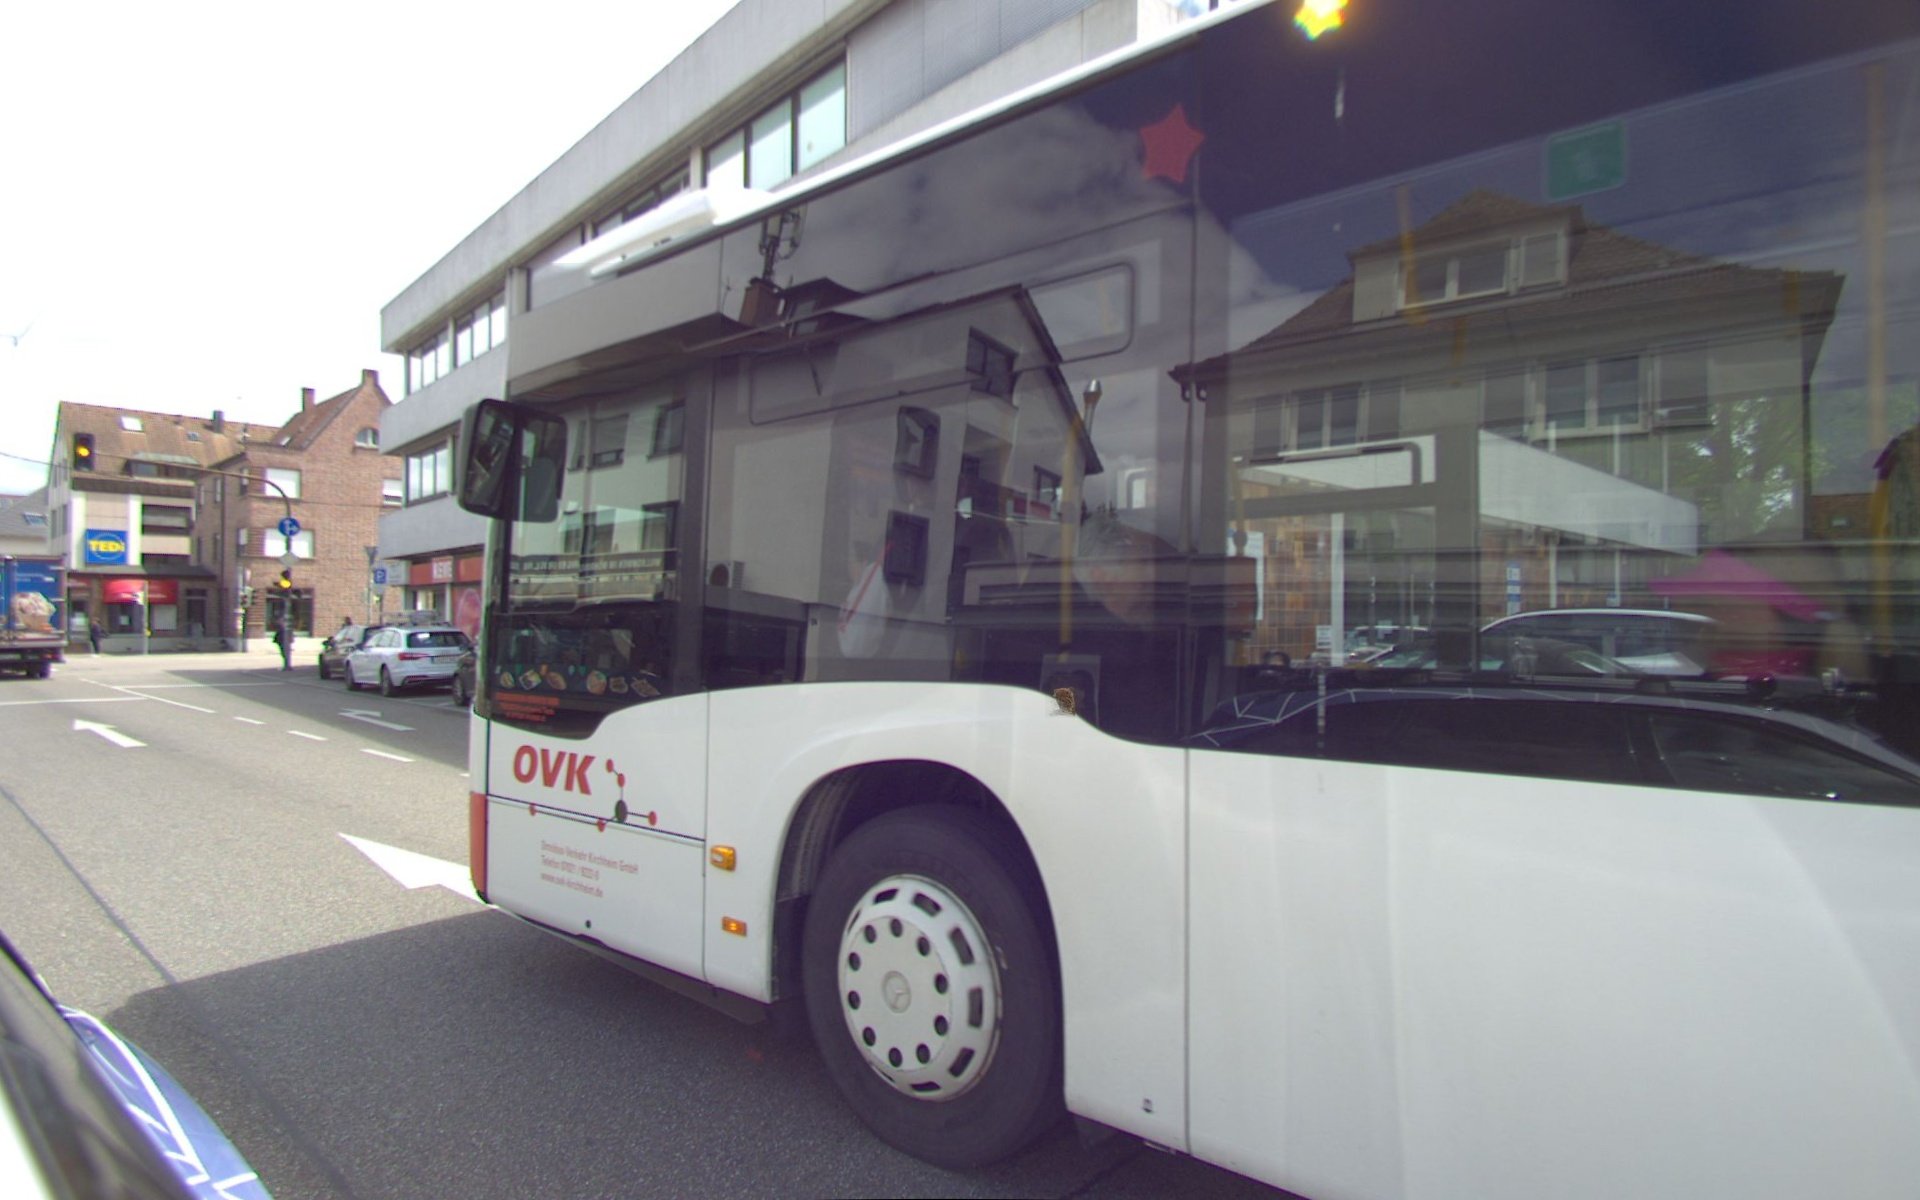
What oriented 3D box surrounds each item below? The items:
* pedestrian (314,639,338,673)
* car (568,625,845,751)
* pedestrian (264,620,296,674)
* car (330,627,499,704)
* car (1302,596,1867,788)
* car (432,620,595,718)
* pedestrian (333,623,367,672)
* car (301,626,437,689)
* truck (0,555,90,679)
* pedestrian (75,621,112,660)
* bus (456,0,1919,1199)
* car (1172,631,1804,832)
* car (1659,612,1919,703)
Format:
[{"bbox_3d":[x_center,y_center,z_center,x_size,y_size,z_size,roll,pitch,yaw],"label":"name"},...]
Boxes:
[{"bbox_3d":[-20.383,1.787,32.552,0.552,1.065,0.663,0,-1,-42],"label":"pedestrian"},{"bbox_3d":[-3.573,1.086,13.809,4.148,1.433,1.703,-2,-1,43],"label":"car"},{"bbox_3d":[-21.186,1.456,31.535,0.709,1.657,0.682,0,-1,-43],"label":"pedestrian"},{"bbox_3d":[-12.146,1.360,22.370,2.021,1.455,4.955,0,-1,-44],"label":"car"},{"bbox_3d":[6.528,0.913,11.146,1.927,1.632,4.936,5,-5,-41],"label":"car"},{"bbox_3d":[-8.096,1.172,18.259,1.716,1.568,3.058,0,-1,-44],"label":"car"},{"bbox_3d":[-19.838,1.526,32.911,0.809,1.566,0.847,0,-1,-42],"label":"pedestrian"},{"bbox_3d":[-15.611,1.442,26.650,4.286,1.486,2.021,-2,-1,44],"label":"car"},{"bbox_3d":[-26.875,0.499,28.293,8.086,3.116,2.823,-1,-2,42],"label":"truck"},{"bbox_3d":[-39.447,1.842,46.091,0.839,1.736,0.906,0,-2,0],"label":"pedestrian"},{"bbox_3d":[2.761,-0.235,1.926,10.173,3.188,2.656,-1,-2,39],"label":"bus"},{"bbox_3d":[4.572,0.981,9.419,1.928,1.368,4.859,2,-2,-44],"label":"car"},{"bbox_3d":[19.970,1.303,24.143,1.944,1.956,5.095,2,-2,-42],"label":"car"}]
